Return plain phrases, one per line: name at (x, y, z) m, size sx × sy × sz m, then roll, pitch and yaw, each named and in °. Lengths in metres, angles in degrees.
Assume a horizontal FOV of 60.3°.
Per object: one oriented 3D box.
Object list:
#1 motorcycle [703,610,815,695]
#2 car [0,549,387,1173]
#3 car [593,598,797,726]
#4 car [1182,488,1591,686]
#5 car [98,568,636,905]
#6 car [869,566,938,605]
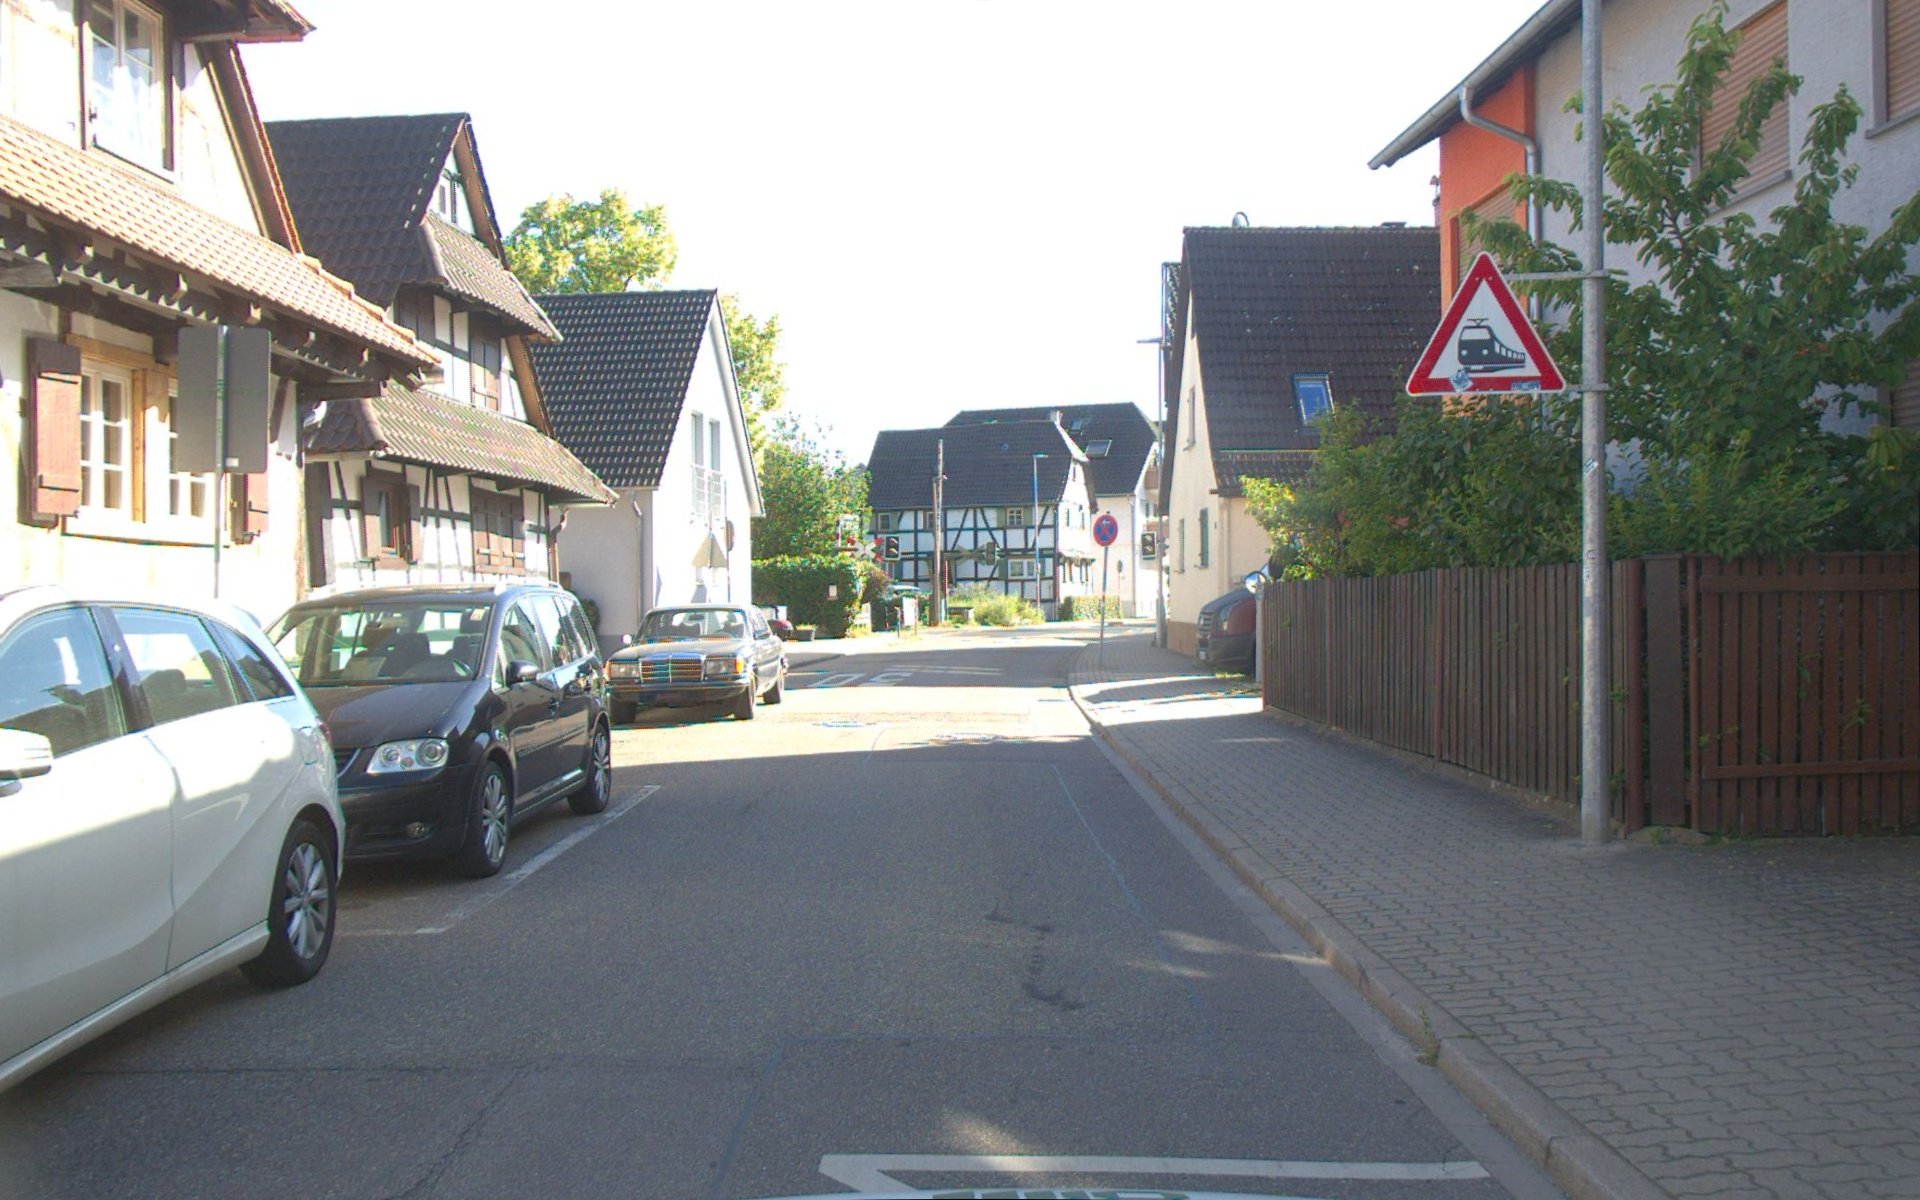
motorcycle at (-3.123, 0.790, 25.534) m, size 1.961 × 1.253 × 0.622 m, roll -1°, pitch 0°, yaw 45°
car at (-3.342, 0.683, 4.935) m, size 1.779 × 1.594 × 4.168 m, roll -1°, pitch -1°, yaw 0°
car at (-3.346, 0.745, 21.819) m, size 1.807 × 1.431 × 5.036 m, roll -2°, pitch -1°, yaw 0°
car at (6.477, -0.192, 25.498) m, size 5.689 × 2.701 × 1.966 m, roll -2°, pitch -1°, yaw -4°
car at (-3.345, 0.678, 10.316) m, size 1.747 × 1.633 × 4.361 m, roll -1°, pitch 0°, yaw 0°
car at (-2.455, -0.598, 70.892) m, size 1.660 × 1.592 × 3.972 m, roll 2°, pitch -1°, yaw -23°
